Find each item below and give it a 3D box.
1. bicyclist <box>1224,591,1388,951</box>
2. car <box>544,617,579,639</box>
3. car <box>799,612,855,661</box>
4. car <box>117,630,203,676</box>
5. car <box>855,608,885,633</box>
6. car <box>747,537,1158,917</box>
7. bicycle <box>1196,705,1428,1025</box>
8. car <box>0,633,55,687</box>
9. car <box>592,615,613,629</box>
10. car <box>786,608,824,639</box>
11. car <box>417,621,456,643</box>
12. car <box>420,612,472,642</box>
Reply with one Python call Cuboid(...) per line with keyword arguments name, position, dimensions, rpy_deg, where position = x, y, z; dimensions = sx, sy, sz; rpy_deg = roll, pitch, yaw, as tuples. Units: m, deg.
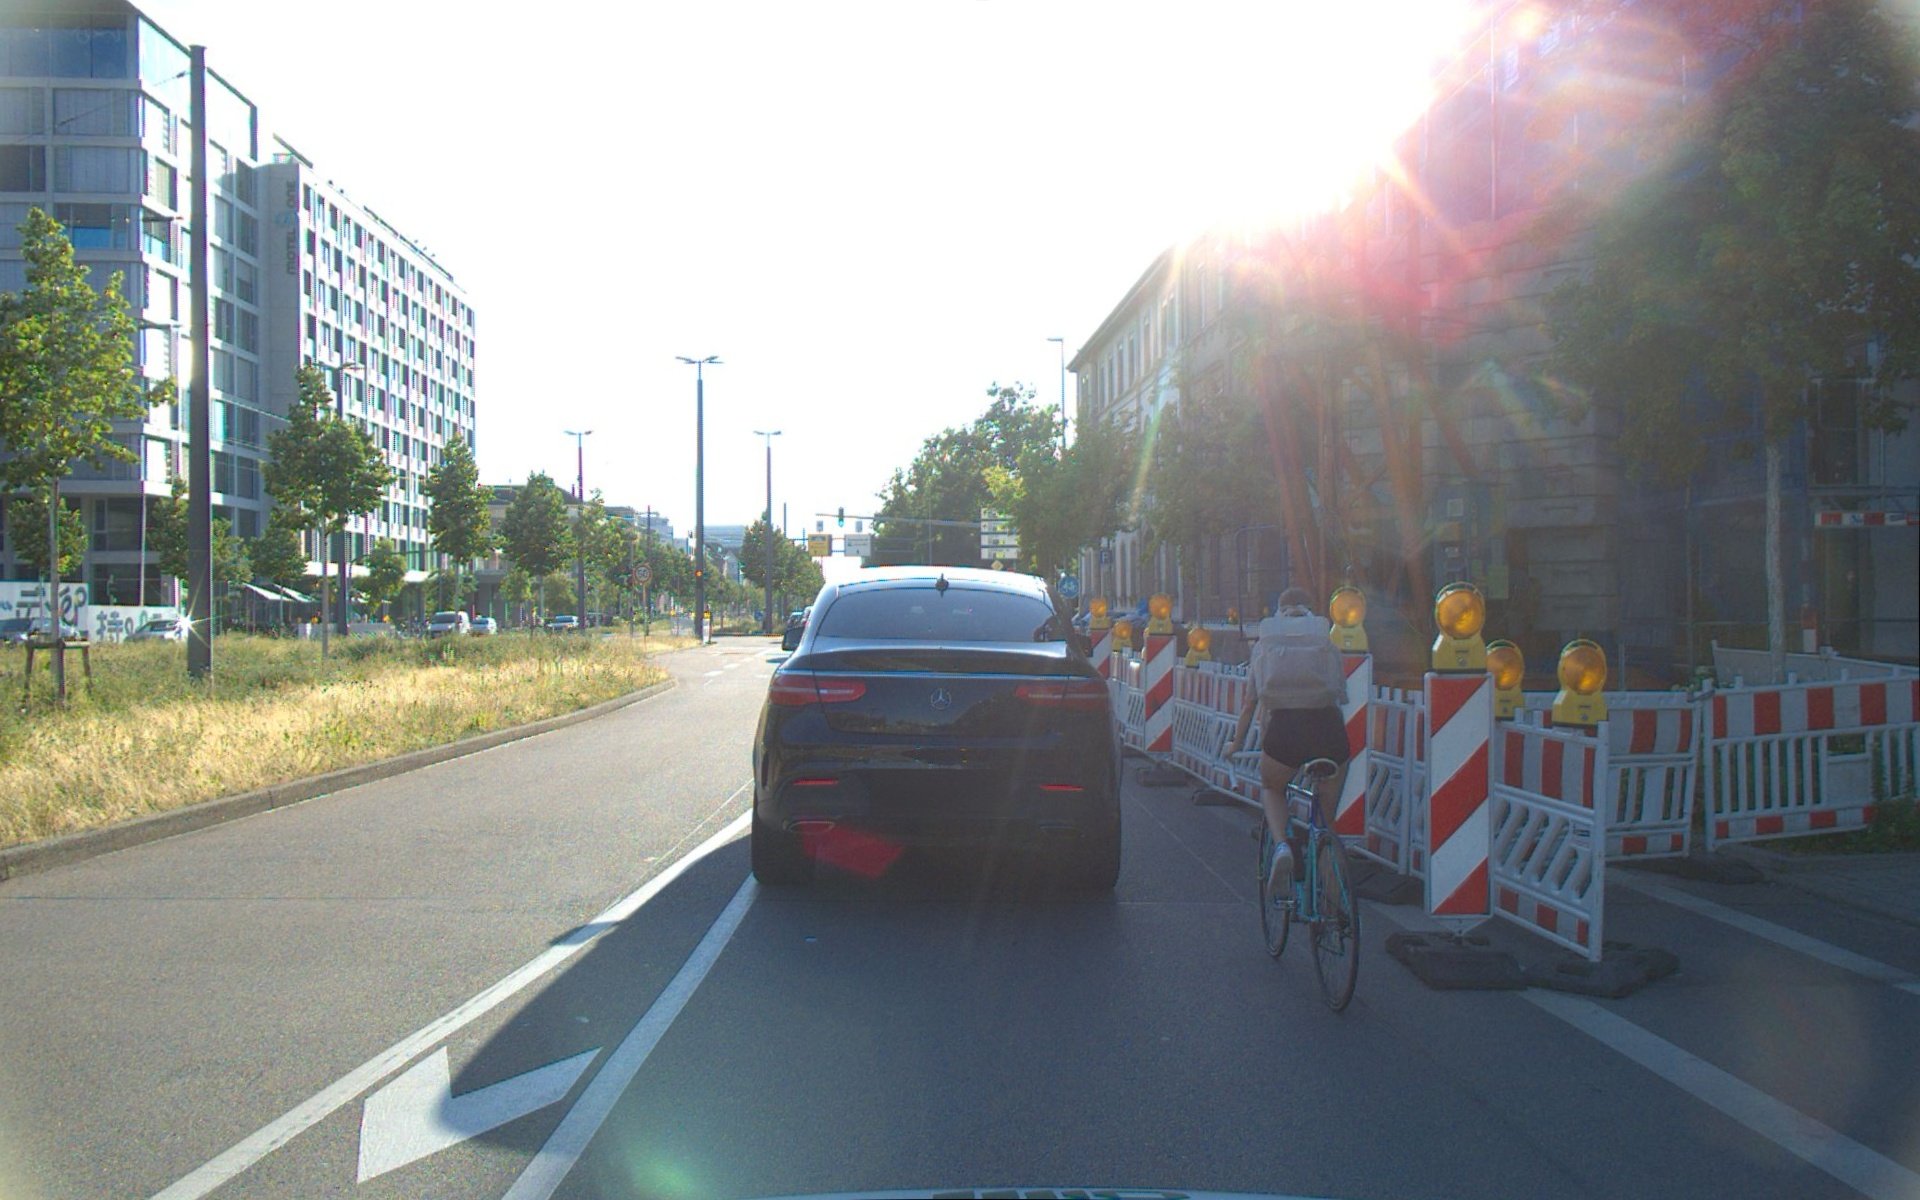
Cuboid(name="bicyclist", position=(1.421, 0.679, 6.858), dimensions=(0.512, 1.420, 0.614), rpy_deg=(1, -1, -4))
Cuboid(name="car", position=(-27.390, 1.943, 113.837), dimensions=(1.674, 1.467, 3.580), rpy_deg=(1, -1, -3))
Cuboid(name="car", position=(-4.179, 1.135, 52.434), dimensions=(1.674, 1.467, 3.580), rpy_deg=(0, 0, -3))
Cuboid(name="car", position=(-32.035, 2.101, 66.340), dimensions=(1.754, 1.713, 3.637), rpy_deg=(1, -1, -2))
Cuboid(name="car", position=(-5.297, 1.199, 97.502), dimensions=(1.674, 1.467, 3.580), rpy_deg=(1, -1, -3))
Cuboid(name="car", position=(-0.060, 0.628, 9.950), dimensions=(1.953, 1.803, 3.999), rpy_deg=(1, -1, -1))
Cuboid(name="bicycle", position=(1.414, 1.027, 6.922), dimensions=(0.502, 1.070, 1.724), rpy_deg=(1, -1, -3))
Cuboid(name="car", position=(-31.928, 1.972, 54.984), dimensions=(1.754, 1.713, 3.637), rpy_deg=(1, -1, -2))
Cuboid(name="car", position=(-38.567, 2.392, 178.597), dimensions=(1.674, 1.467, 3.580), rpy_deg=(1, -1, -3))
Cuboid(name="car", position=(-7.613, 1.130, 81.286), dimensions=(1.674, 1.467, 3.580), rpy_deg=(1, -1, -3))
Cuboid(name="car", position=(-36.869, 2.229, 116.546), dimensions=(1.674, 1.467, 3.580), rpy_deg=(1, -1, -3))
Cuboid(name="car", position=(-29.868, 1.573, 96.204), dimensions=(1.753, 1.713, 3.639), rpy_deg=(1, -1, 2))
